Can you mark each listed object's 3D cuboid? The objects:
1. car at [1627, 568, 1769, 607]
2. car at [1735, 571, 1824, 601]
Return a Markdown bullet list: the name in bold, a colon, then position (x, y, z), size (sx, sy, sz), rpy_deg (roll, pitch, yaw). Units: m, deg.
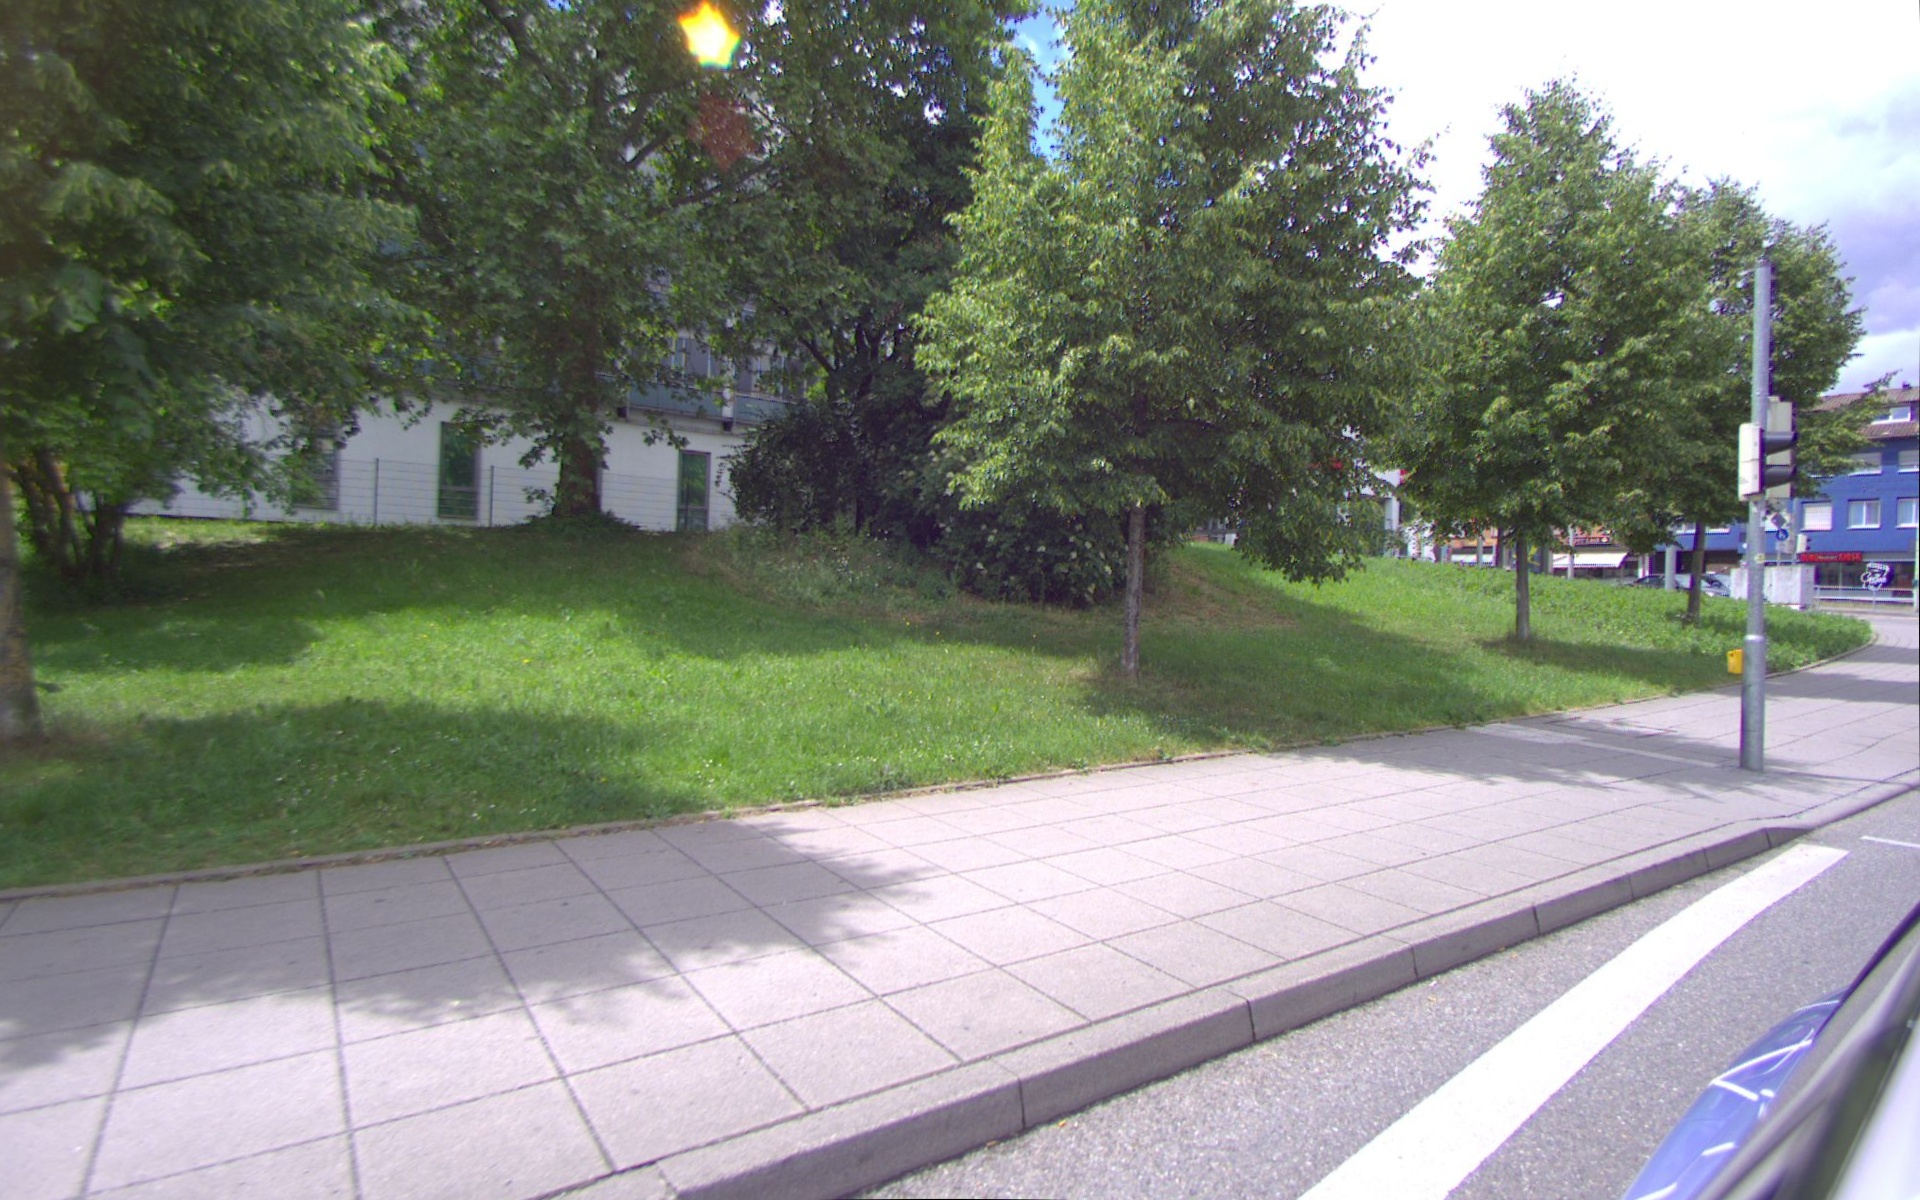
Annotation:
- **car**: position (29.486, -0.534, 40.642), size (2.010, 1.483, 4.333), rpy_deg (0, 2, -12)
- **car**: position (48.247, -0.846, 59.647), size (3.981, 1.551, 1.688), rpy_deg (3, 1, 39)
